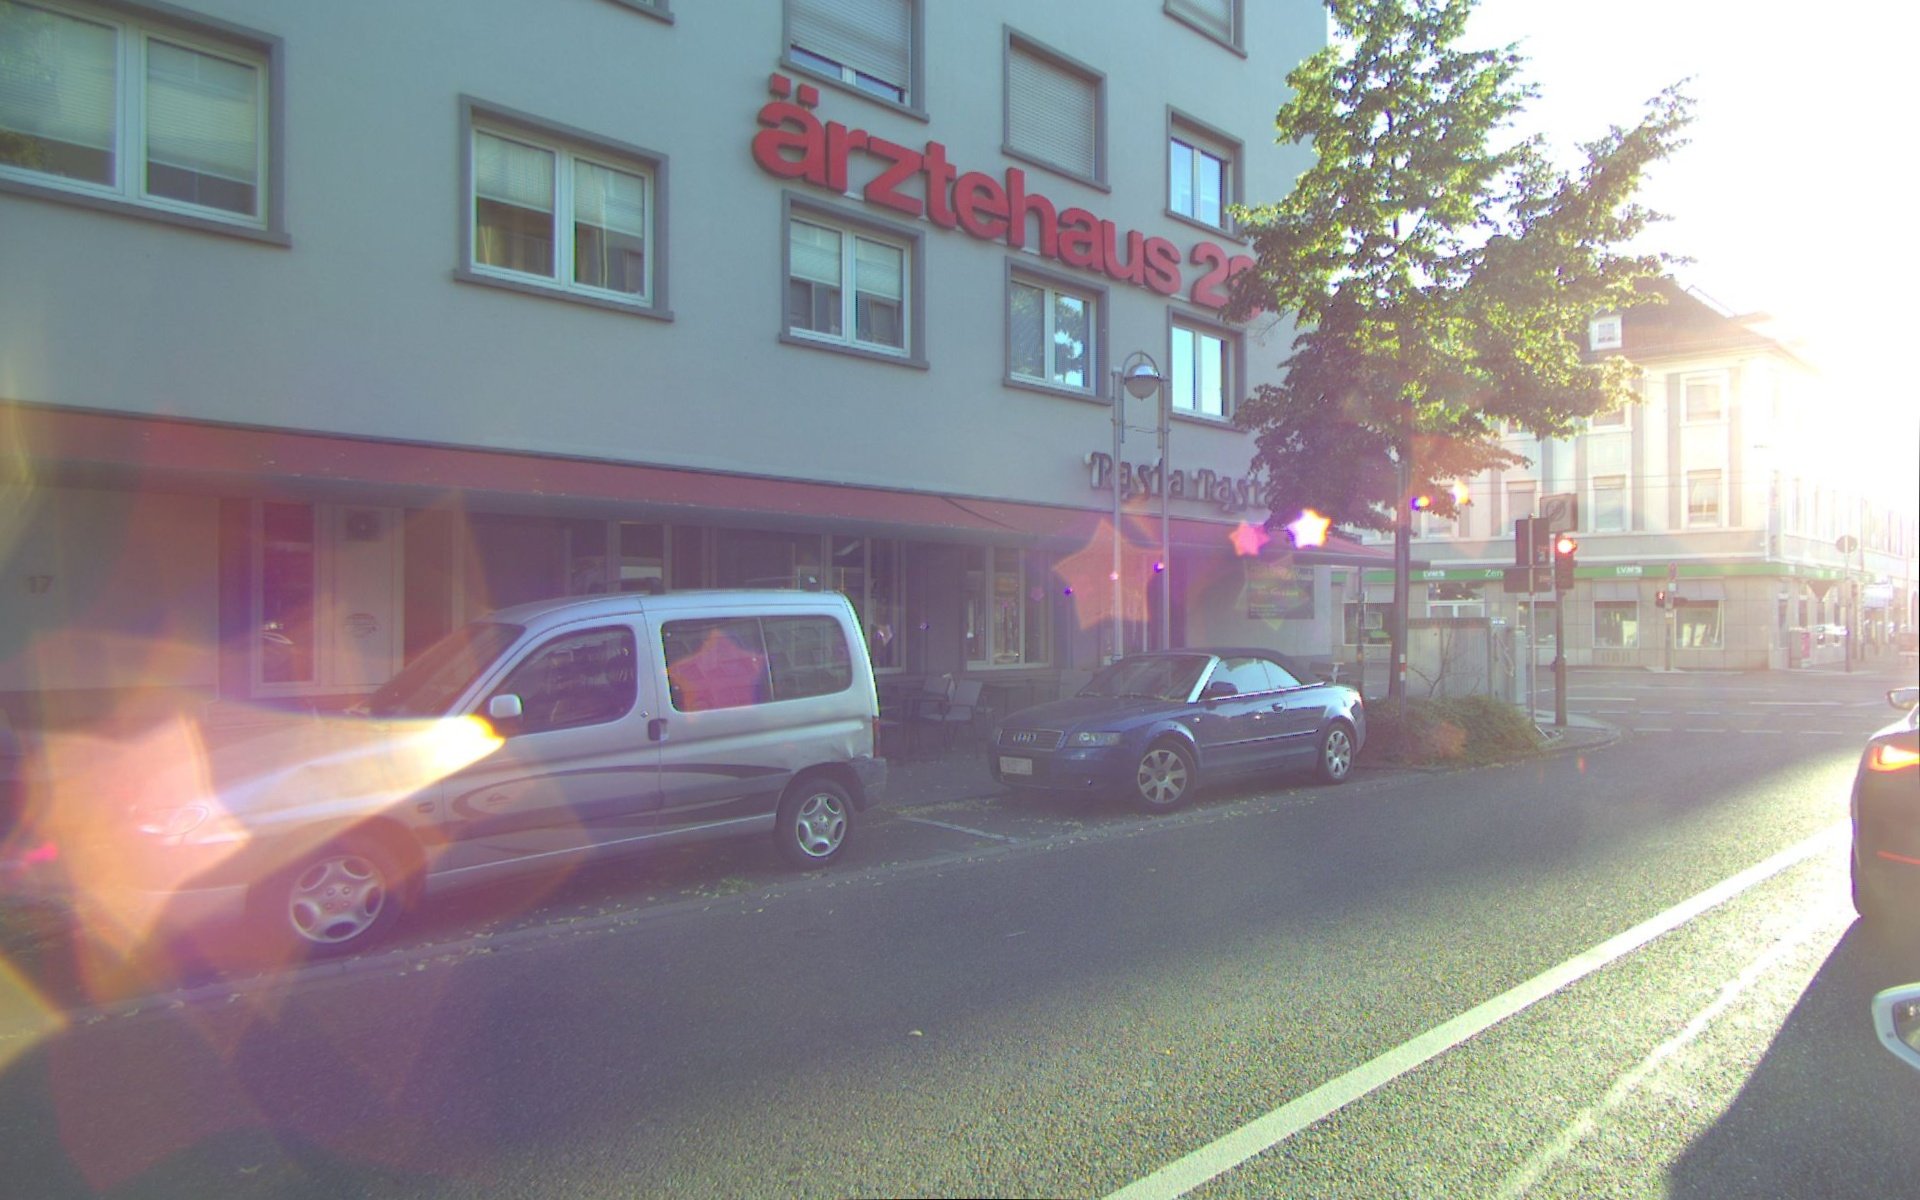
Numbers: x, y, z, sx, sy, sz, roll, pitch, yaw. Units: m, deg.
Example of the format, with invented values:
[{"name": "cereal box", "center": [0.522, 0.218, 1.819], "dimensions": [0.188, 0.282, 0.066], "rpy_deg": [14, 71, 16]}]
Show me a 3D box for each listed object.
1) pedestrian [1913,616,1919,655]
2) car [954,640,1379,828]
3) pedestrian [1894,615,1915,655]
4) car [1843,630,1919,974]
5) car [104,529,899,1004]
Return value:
[{"name": "pedestrian", "center": [46.838, 1.725, 48.792], "dimensions": [0.612, 1.901, 0.671], "rpy_deg": [1, 0, -38]}, {"name": "car", "center": [2.124, 1.120, 9.696], "dimensions": [4.244, 1.434, 1.710], "rpy_deg": [2, -4, -39]}, {"name": "pedestrian", "center": [46.365, 1.716, 49.317], "dimensions": [0.626, 1.901, 0.638], "rpy_deg": [1, 0, -38]}, {"name": "car", "center": [6.072, 0.899, 5.114], "dimensions": [4.188, 1.447, 1.723], "rpy_deg": [1, -1, -39]}, {"name": "car", "center": [-2.465, 0.753, 6.022], "dimensions": [4.022, 1.912, 1.655], "rpy_deg": [2, -4, -41]}]
